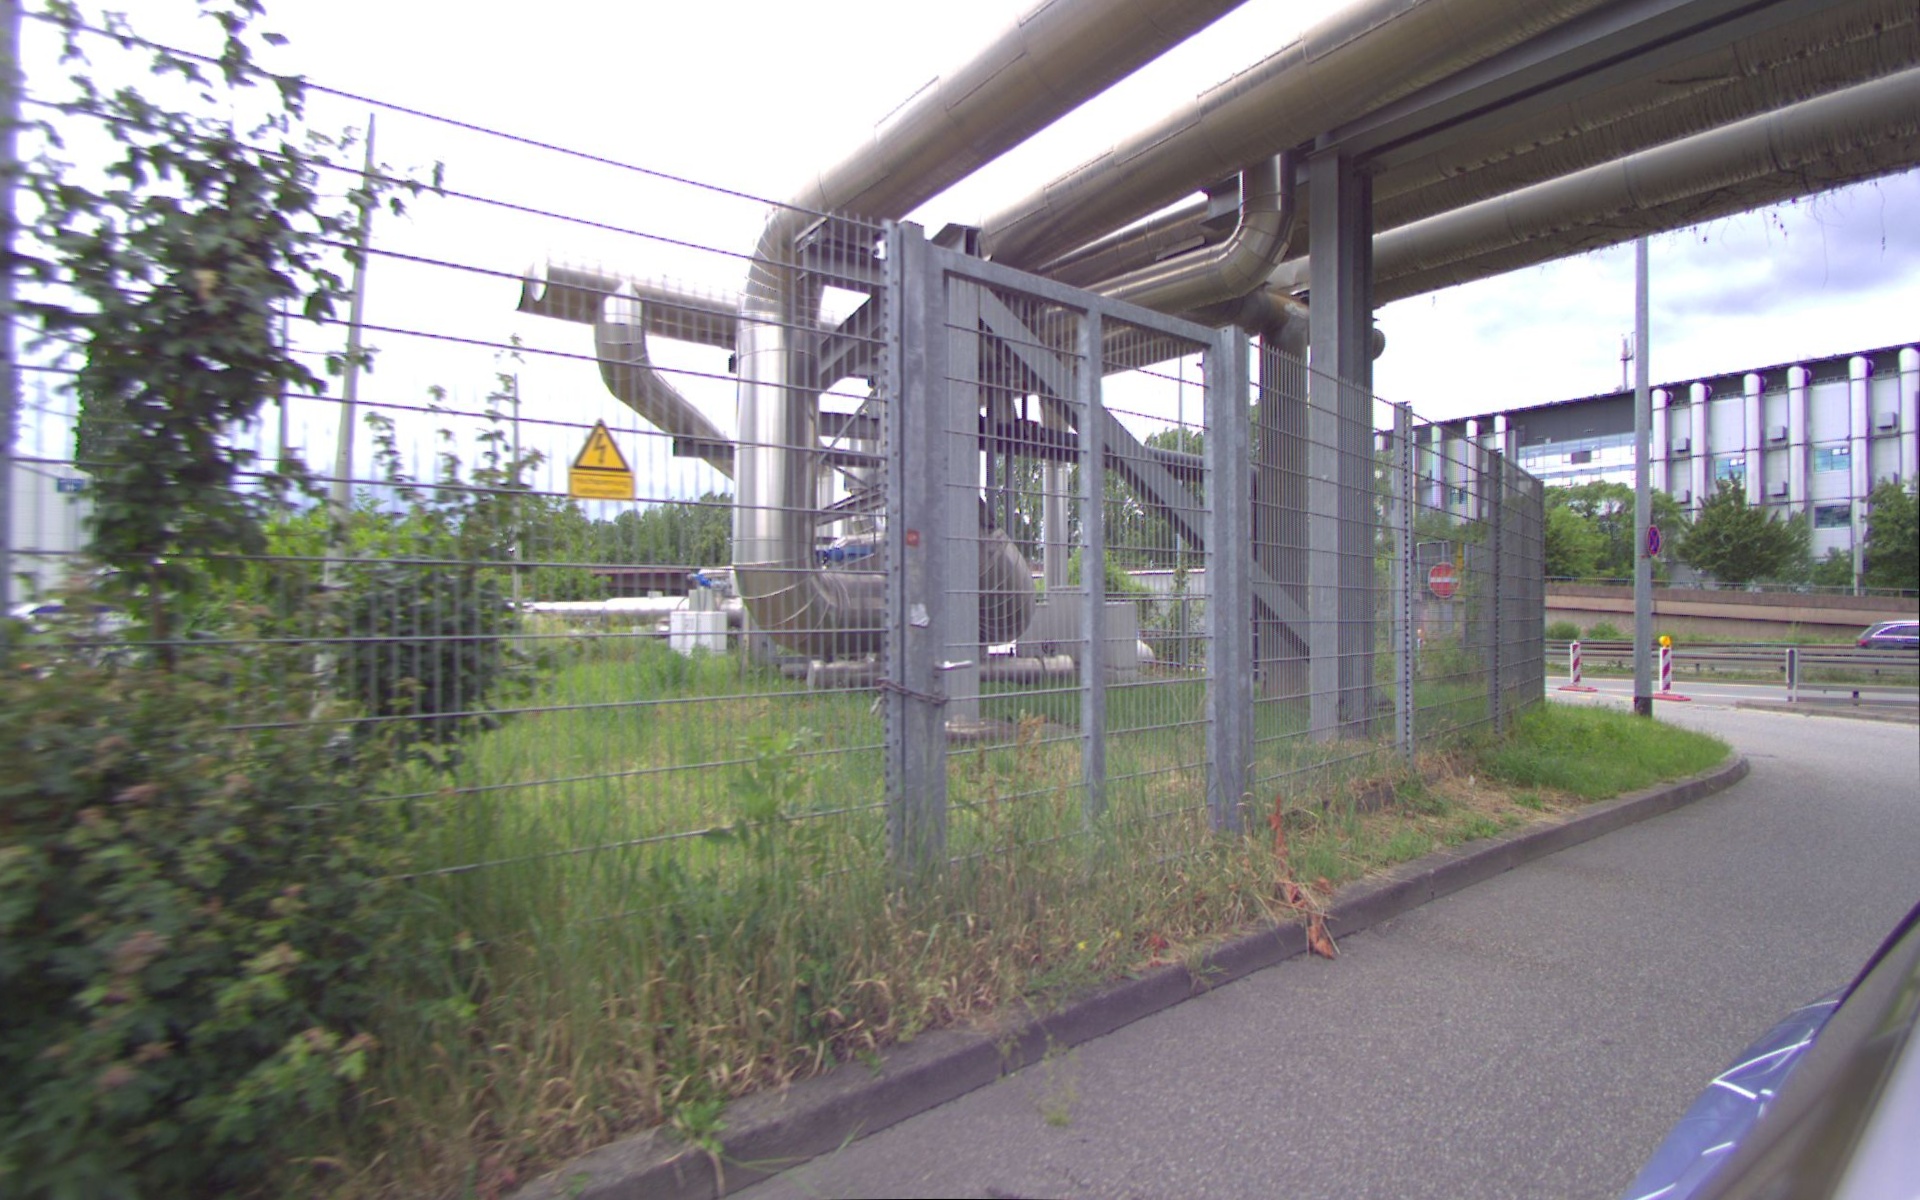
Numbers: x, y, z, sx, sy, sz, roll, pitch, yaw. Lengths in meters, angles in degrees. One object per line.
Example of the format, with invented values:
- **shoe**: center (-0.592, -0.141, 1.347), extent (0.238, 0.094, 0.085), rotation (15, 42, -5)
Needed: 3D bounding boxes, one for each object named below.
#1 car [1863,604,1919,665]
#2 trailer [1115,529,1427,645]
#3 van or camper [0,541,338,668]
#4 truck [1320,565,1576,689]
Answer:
- **car**: center (30.124, 1.040, 30.380), extent (1.951, 1.527, 4.284), rotation (-11, 7, -41)
- **trailer**: center (12.937, -0.478, 44.022), extent (3.113, 4.378, 13.234), rotation (-1, 0, -42)
- **van or camper**: center (-17.805, 0.134, 23.174), extent (6.005, 2.581, 2.577), rotation (1, -1, -32)
- **truck**: center (18.218, 0.911, 38.319), extent (3.112, 4.182, 8.123), rotation (-2, 1, -42)
